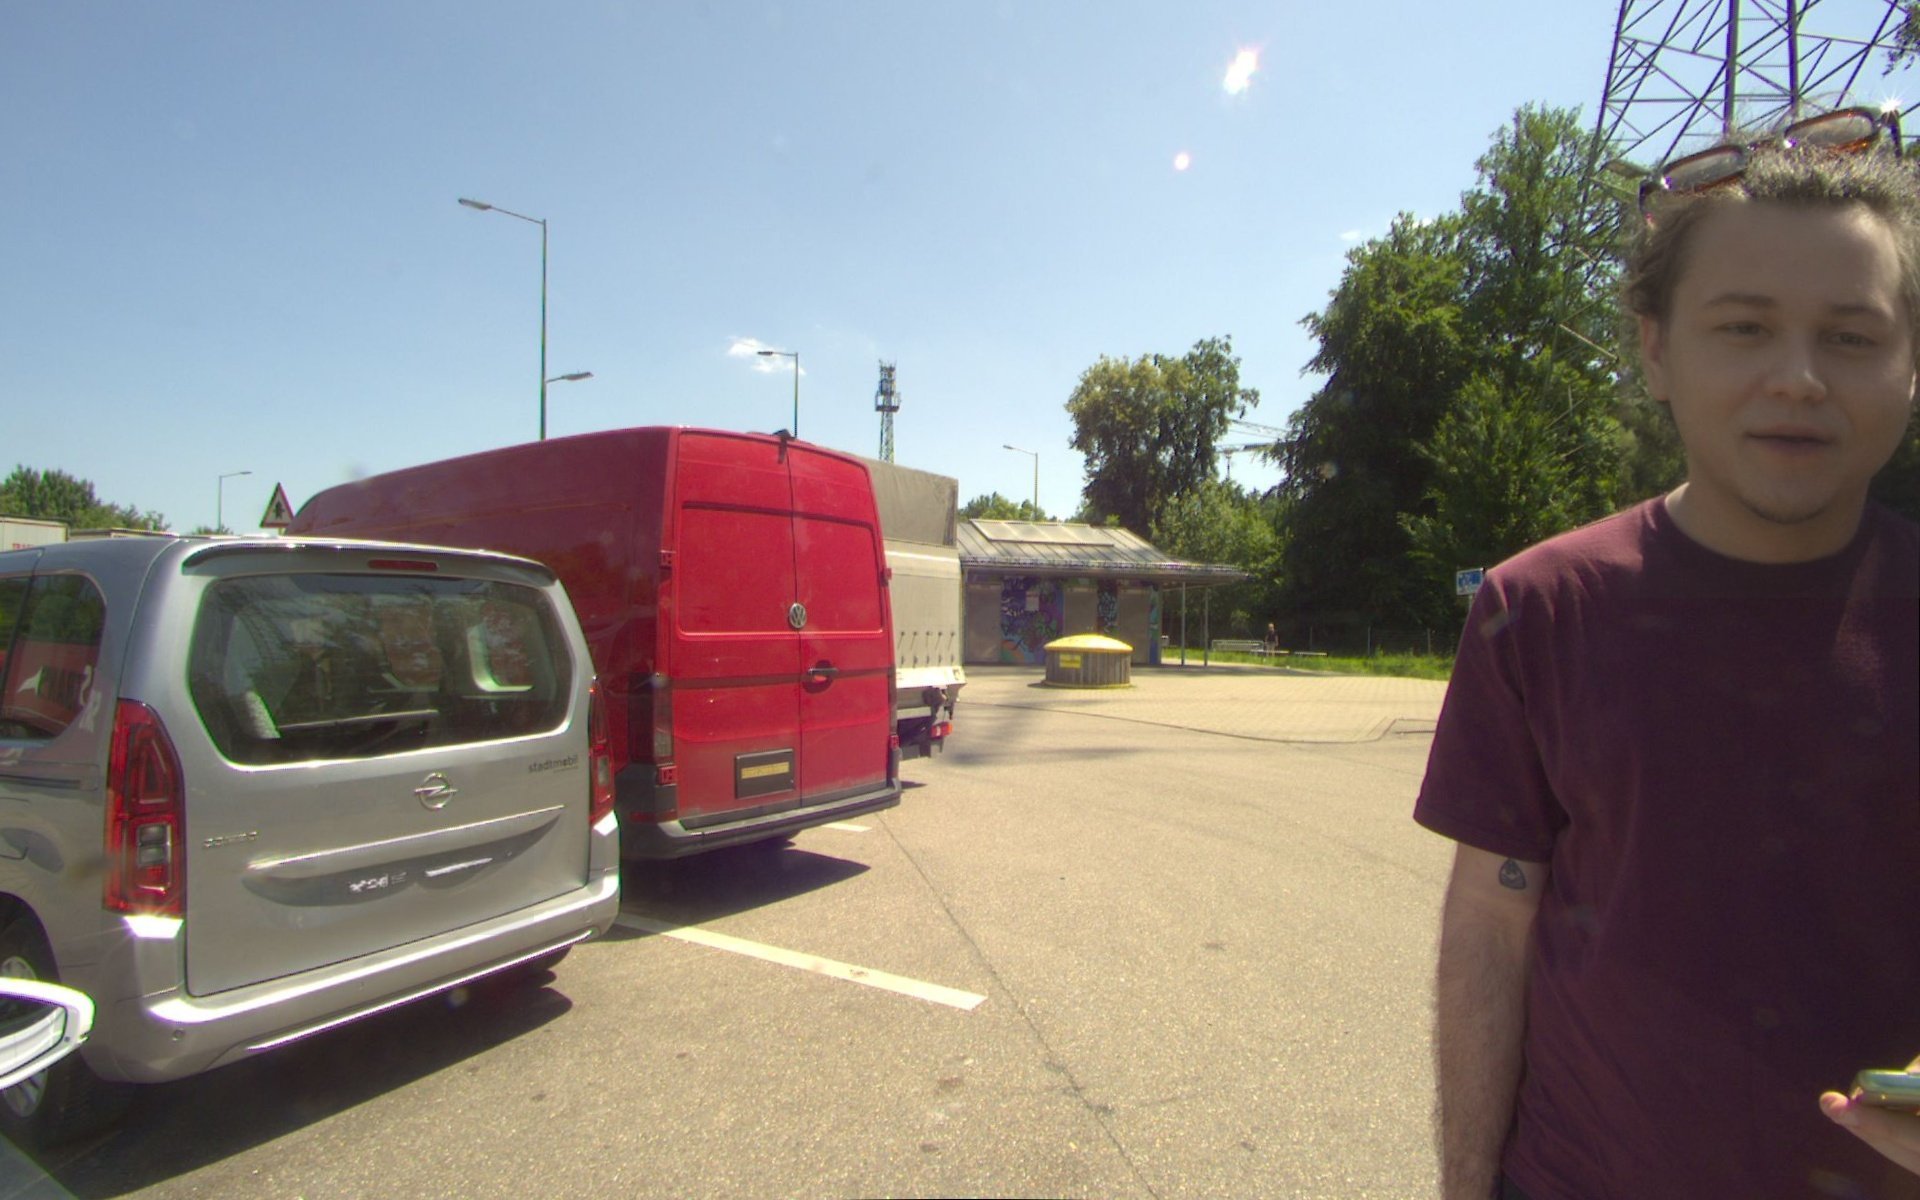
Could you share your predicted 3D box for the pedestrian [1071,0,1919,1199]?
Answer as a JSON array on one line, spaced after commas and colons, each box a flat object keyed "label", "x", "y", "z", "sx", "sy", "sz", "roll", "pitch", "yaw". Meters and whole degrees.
[{"label": "pedestrian", "x": 0.675, "y": 0.520, "z": 0.817, "sx": 0.850, "sy": 1.857, "sz": 0.859, "roll": -1, "pitch": -1, "yaw": 36}]

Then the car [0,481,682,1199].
[{"label": "car", "x": -3.379, "y": 0.687, "z": 4.241, "sx": 4.113, "sy": 1.887, "sz": 1.868, "roll": 1, "pitch": -2, "yaw": 31}]

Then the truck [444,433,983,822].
[{"label": "truck", "x": -2.735, "y": 0.304, "z": 10.280, "sx": 5.582, "sy": 2.949, "sz": 2.449, "roll": -2, "pitch": -2, "yaw": 37}]

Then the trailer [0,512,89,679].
[{"label": "trailer", "x": -29.012, "y": -0.258, "z": 28.135, "sx": 14.184, "sy": 4.040, "sz": 2.808, "roll": 2, "pitch": -2, "yaw": 33}]

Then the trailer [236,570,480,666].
[{"label": "trailer", "x": -26.094, "y": 0.646, "z": 42.896, "sx": 14.184, "sy": 3.552, "sz": 2.808, "roll": 2, "pitch": -2, "yaw": 33}]

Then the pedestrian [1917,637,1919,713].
[{"label": "pedestrian", "x": 17.261, "y": 1.320, "z": 17.469, "sx": 0.690, "sy": 1.352, "sz": 0.561, "roll": -1, "pitch": -1, "yaw": 33}]

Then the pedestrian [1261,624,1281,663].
[{"label": "pedestrian", "x": 13.604, "y": 1.905, "z": 43.842, "sx": 0.725, "sy": 1.658, "sz": 0.790, "roll": -1, "pitch": -1, "yaw": 25}]

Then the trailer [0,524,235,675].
[{"label": "trailer", "x": -27.949, "y": -0.101, "z": 31.781, "sx": 14.184, "sy": 4.040, "sz": 2.808, "roll": 2, "pitch": -2, "yaw": 33}]

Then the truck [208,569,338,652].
[{"label": "truck", "x": -32.089, "y": 0.467, "z": 46.754, "sx": 5.813, "sy": 3.566, "sz": 2.799, "roll": 2, "pitch": -2, "yaw": 33}]

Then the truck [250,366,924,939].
[{"label": "truck", "x": -2.886, "y": 0.337, "z": 7.041, "sx": 5.238, "sy": 2.655, "sz": 1.972, "roll": -2, "pitch": -2, "yaw": 38}]
